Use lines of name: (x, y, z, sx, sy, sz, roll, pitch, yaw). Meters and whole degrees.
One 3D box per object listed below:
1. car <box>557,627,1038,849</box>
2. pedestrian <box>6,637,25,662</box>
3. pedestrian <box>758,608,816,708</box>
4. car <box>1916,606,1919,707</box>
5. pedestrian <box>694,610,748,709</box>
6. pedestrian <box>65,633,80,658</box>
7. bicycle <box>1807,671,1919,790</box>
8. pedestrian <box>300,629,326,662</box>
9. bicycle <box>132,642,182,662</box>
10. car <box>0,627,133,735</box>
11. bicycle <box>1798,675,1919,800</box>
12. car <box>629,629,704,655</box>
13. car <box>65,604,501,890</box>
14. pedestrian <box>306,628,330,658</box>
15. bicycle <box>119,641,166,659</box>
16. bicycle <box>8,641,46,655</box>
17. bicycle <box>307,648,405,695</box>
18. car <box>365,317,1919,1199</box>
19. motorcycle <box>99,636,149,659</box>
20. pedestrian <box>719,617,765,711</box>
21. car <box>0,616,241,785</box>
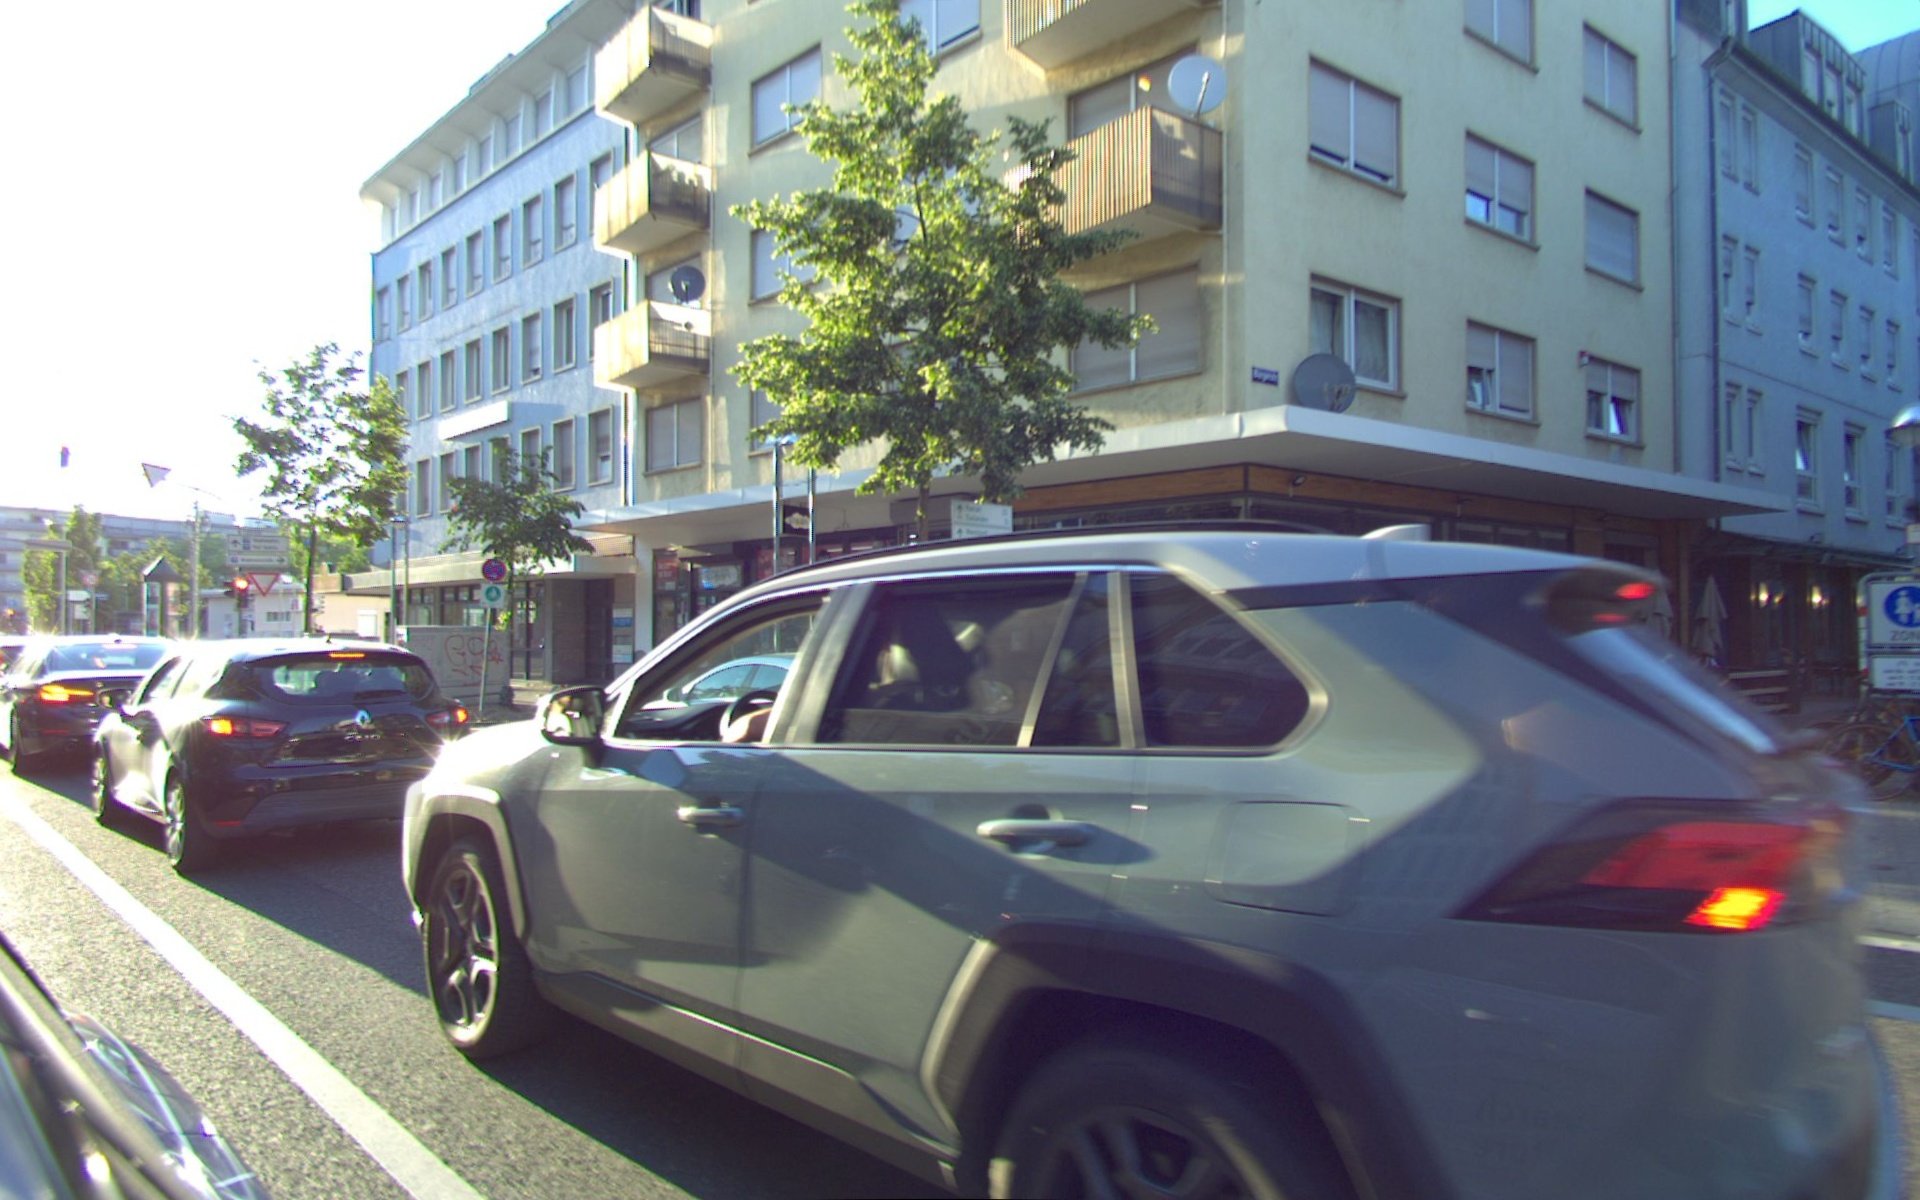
car: (-1.675, 1.066, 9.365, 4.508, 1.523, 1.972, -1, -4, 42)
pedestrian: (-65.955, 3.437, 70.690, 0.892, 1.689, 0.781, -1, 0, -37)
pedestrian: (-3.286, 1.094, 19.203, 0.813, 1.833, 0.732, -3, -3, 44)
car: (20.083, 1.029, 19.029, 4.799, 1.841, 2.005, 0, -1, -33)
pedestrian: (-4.662, 1.145, 19.695, 0.758, 1.862, 0.744, 1, -3, -39)
pedestrian: (-62.028, 3.199, 70.769, 0.767, 1.689, 0.908, -1, 0, -41)
bicycle: (8.897, 1.187, 9.031, 2.016, 0.999, 0.484, -1, 0, 43)
pedestrian: (-36.111, 2.517, 56.475, 0.874, 1.798, 0.901, -1, 0, 18)
bicycle: (-47.388, 3.069, 59.723, 0.778, 1.096, 2.195, -1, -1, 35)
car: (-15.230, 1.261, 16.456, 4.505, 1.559, 1.938, -3, -3, 40)
bicycle: (8.495, 1.195, 8.660, 2.014, 0.999, 0.485, -1, 0, 40)
car: (-17.688, 2.524, 61.166, 2.034, 1.487, 4.577, -2, -2, 21)
car: (-5.330, 0.892, 7.702, 4.464, 1.561, 1.705, -2, -3, 42)
pedestrian: (-36.786, 2.472, 57.994, 0.896, 1.689, 0.778, -1, 0, 7)
bicycle: (-50.815, 3.103, 62.917, 0.779, 1.096, 2.152, -1, -2, 41)
bicycle: (-79.267, 4.087, 85.992, 2.365, 1.079, 0.673, -1, 0, -41)
bicycle: (-14.544, 1.712, 24.433, 0.490, 0.999, 1.990, -1, 0, 37)
car: (0.102, 0.586, 3.097, 4.737, 1.657, 1.920, -1, -2, 42)
motorcycle: (-53.575, 3.030, 64.861, 2.416, 1.376, 0.780, -1, -2, -43)
pedestrian: (-4.049, 1.174, 18.832, 0.758, 1.689, 0.744, -1, -1, -6)
car: (-10.463, 1.042, 12.221, 4.614, 1.657, 1.925, -1, -2, 42)
